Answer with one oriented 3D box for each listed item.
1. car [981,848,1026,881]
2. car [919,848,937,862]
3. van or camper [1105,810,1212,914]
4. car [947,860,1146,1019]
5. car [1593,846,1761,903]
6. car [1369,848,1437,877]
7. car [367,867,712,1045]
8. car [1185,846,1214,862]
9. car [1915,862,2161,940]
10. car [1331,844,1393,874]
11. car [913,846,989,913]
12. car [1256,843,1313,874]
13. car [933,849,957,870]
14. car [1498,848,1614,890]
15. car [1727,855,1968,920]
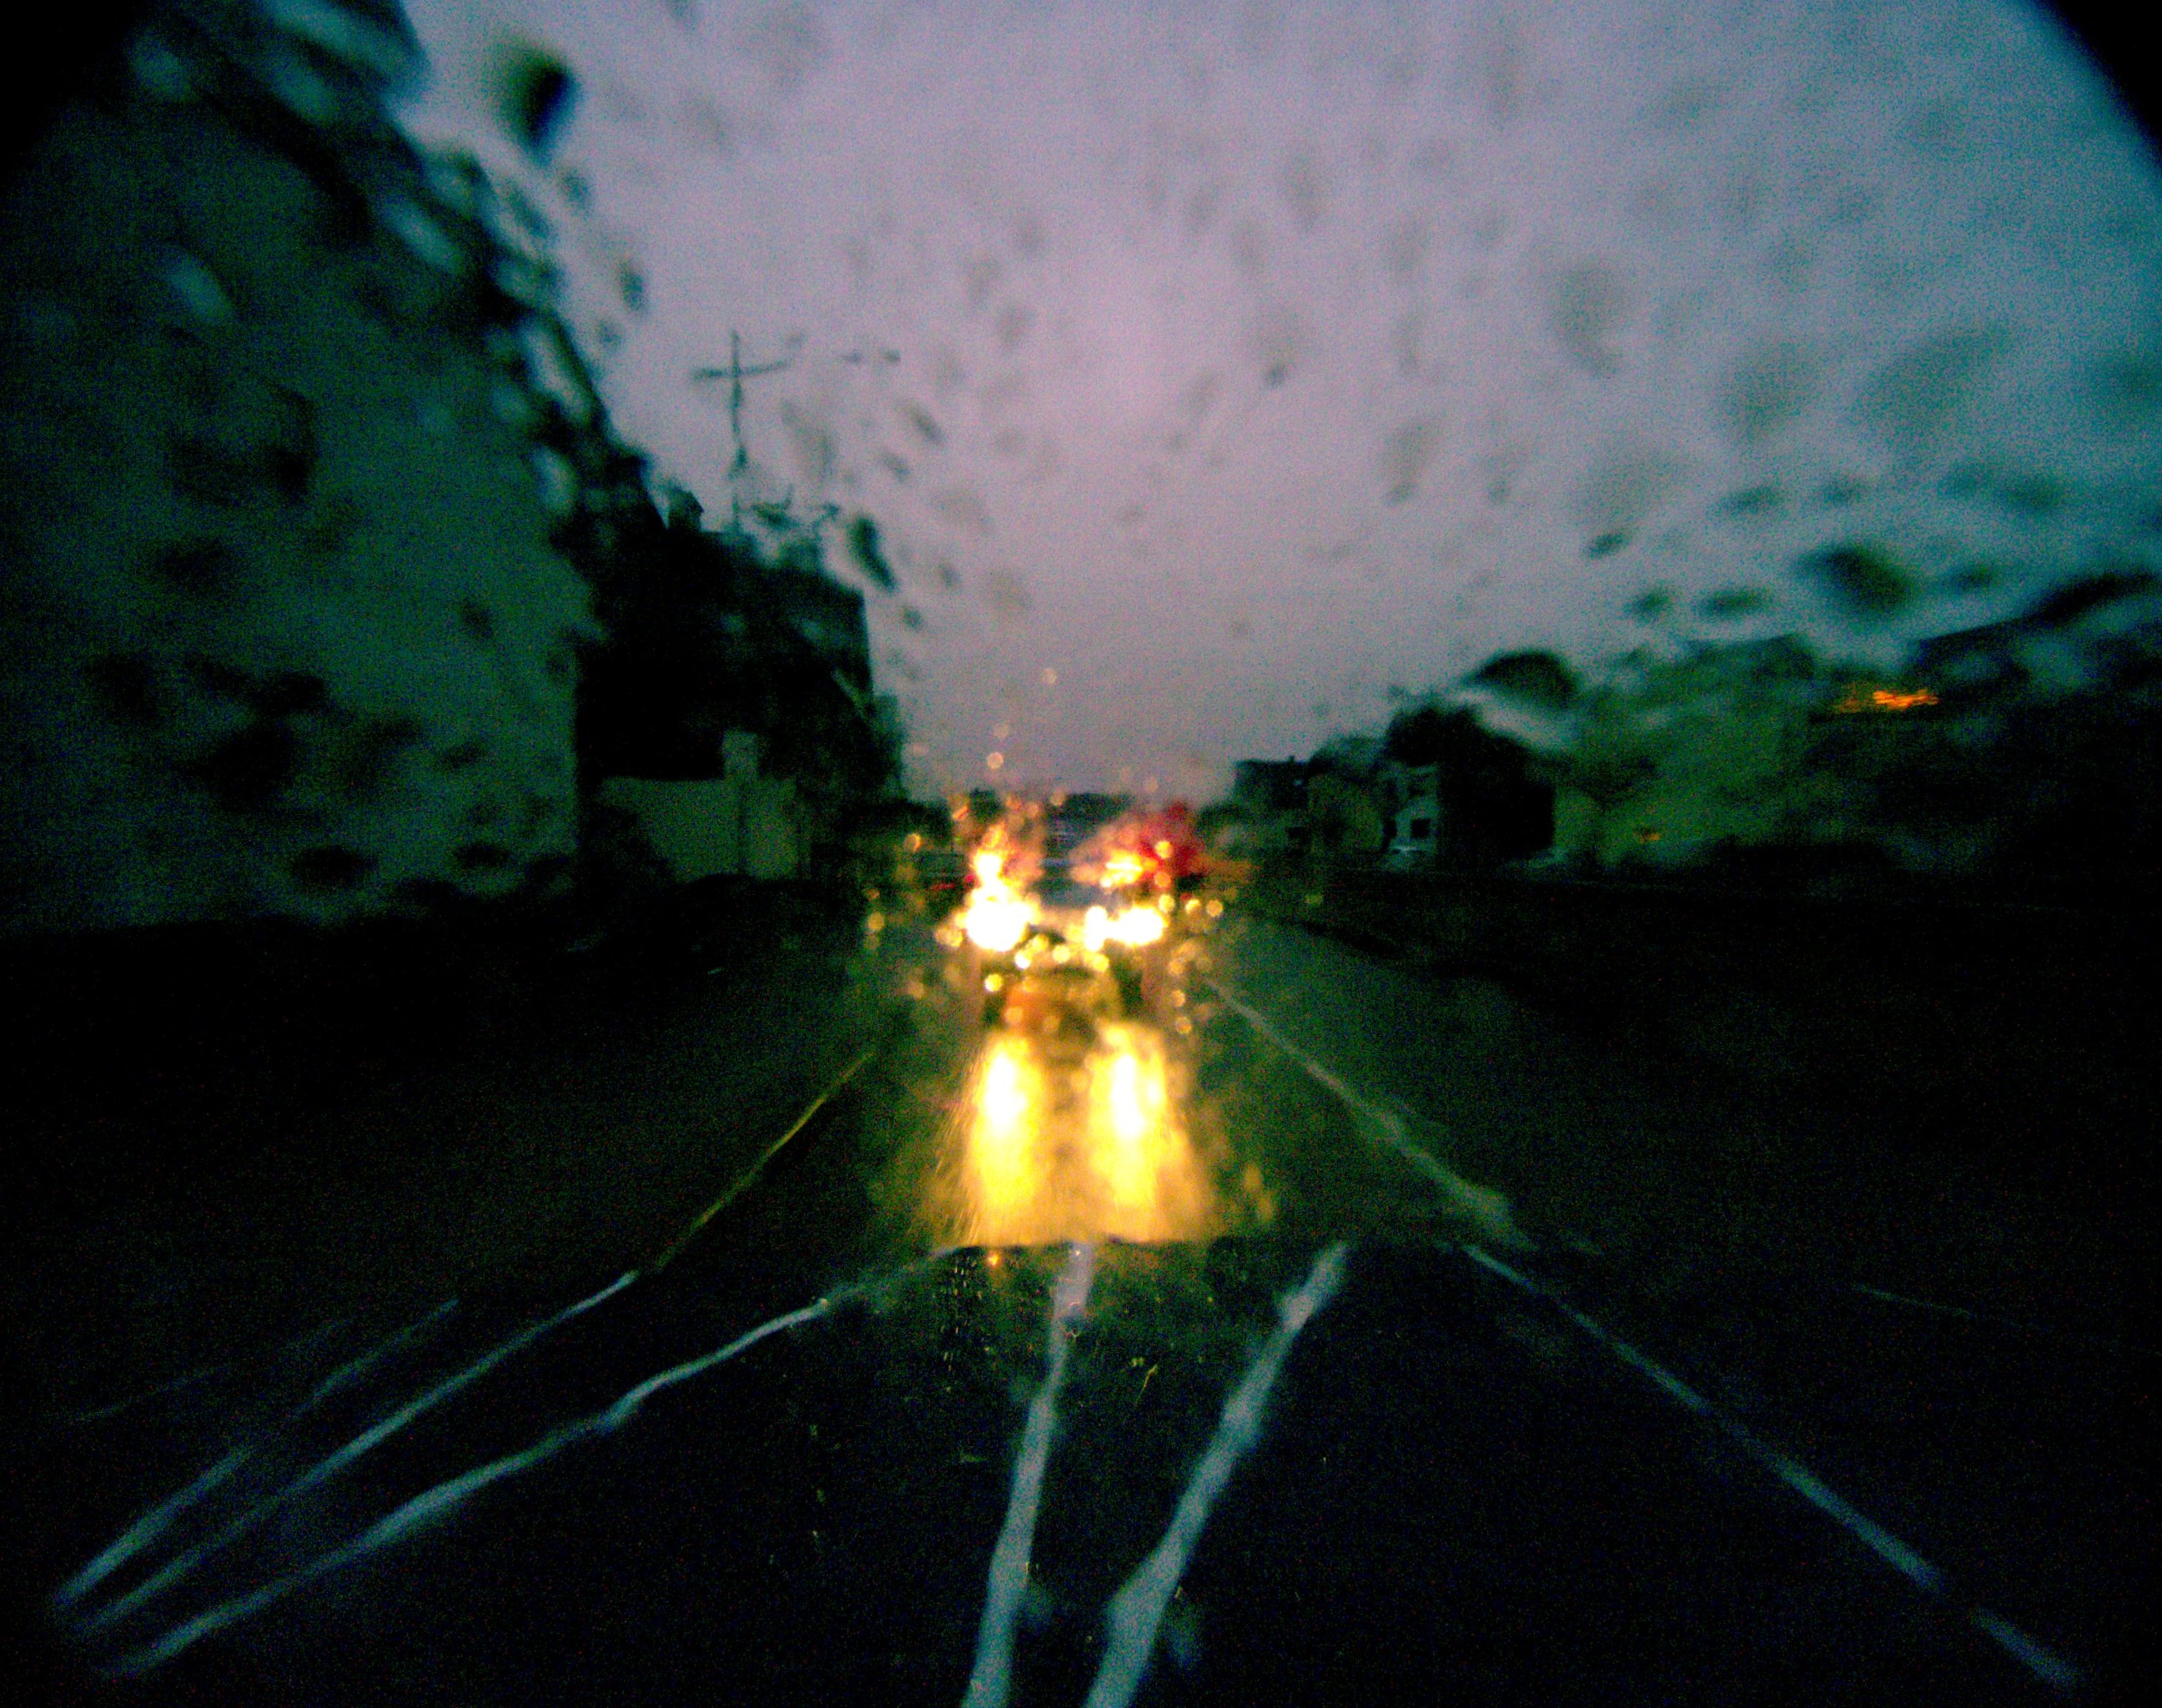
[{"bbox_3d":[-4.479,0.551,43.196,1.908,1.631,4.559,1,2,-14],"label":"car"},{"bbox_3d":[-17.935,0.077,88.744,1.814,1.555,4.298,0,1,-14],"label":"car"},{"bbox_3d":[2.089,0.185,22.732,2.246,2.653,6.553,0,0,-3],"label":"van or camper"},{"bbox_3d":[-0.335,0.908,9.881,1.998,1.526,4.000,-3,0,1],"label":"car"},{"bbox_3d":[20.257,0.661,26.120,1.880,1.768,4.498,1,0,-6],"label":"car"},{"bbox_3d":[18.297,0.450,43.353,1.774,1.515,4.028,0,1,-8],"label":"car"},{"bbox_3d":[-5.571,0.911,8.487,1.772,1.385,3.909,1,0,-13],"label":"car"},{"bbox_3d":[12.413,-0.018,79.622,1.822,1.615,3.981,-3,1,-8],"label":"car"},{"bbox_3d":[21.068,0.919,15.991,1.879,1.425,4.499,1,0,-4],"label":"car"},{"bbox_3d":[17.458,0.291,47.407,1.864,1.672,3.996,-3,1,-8],"label":"car"},{"bbox_3d":[-3.808,0.689,22.837,1.774,1.771,3.998,2,0,-4],"label":"car"},{"bbox_3d":[12.242,0.221,45.936,1.806,1.793,3.856,-1,1,-11],"label":"car"},{"bbox_3d":[-11.061,0.413,61.575,1.671,1.567,4.491,0,1,-13],"label":"car"},{"bbox_3d":[19.741,0.589,31.845,1.880,1.589,4.222,1,0,-6],"label":"car"},{"bbox_3d":[20.814,0.830,20.970,1.879,1.563,4.499,1,0,-4],"label":"car"}]
